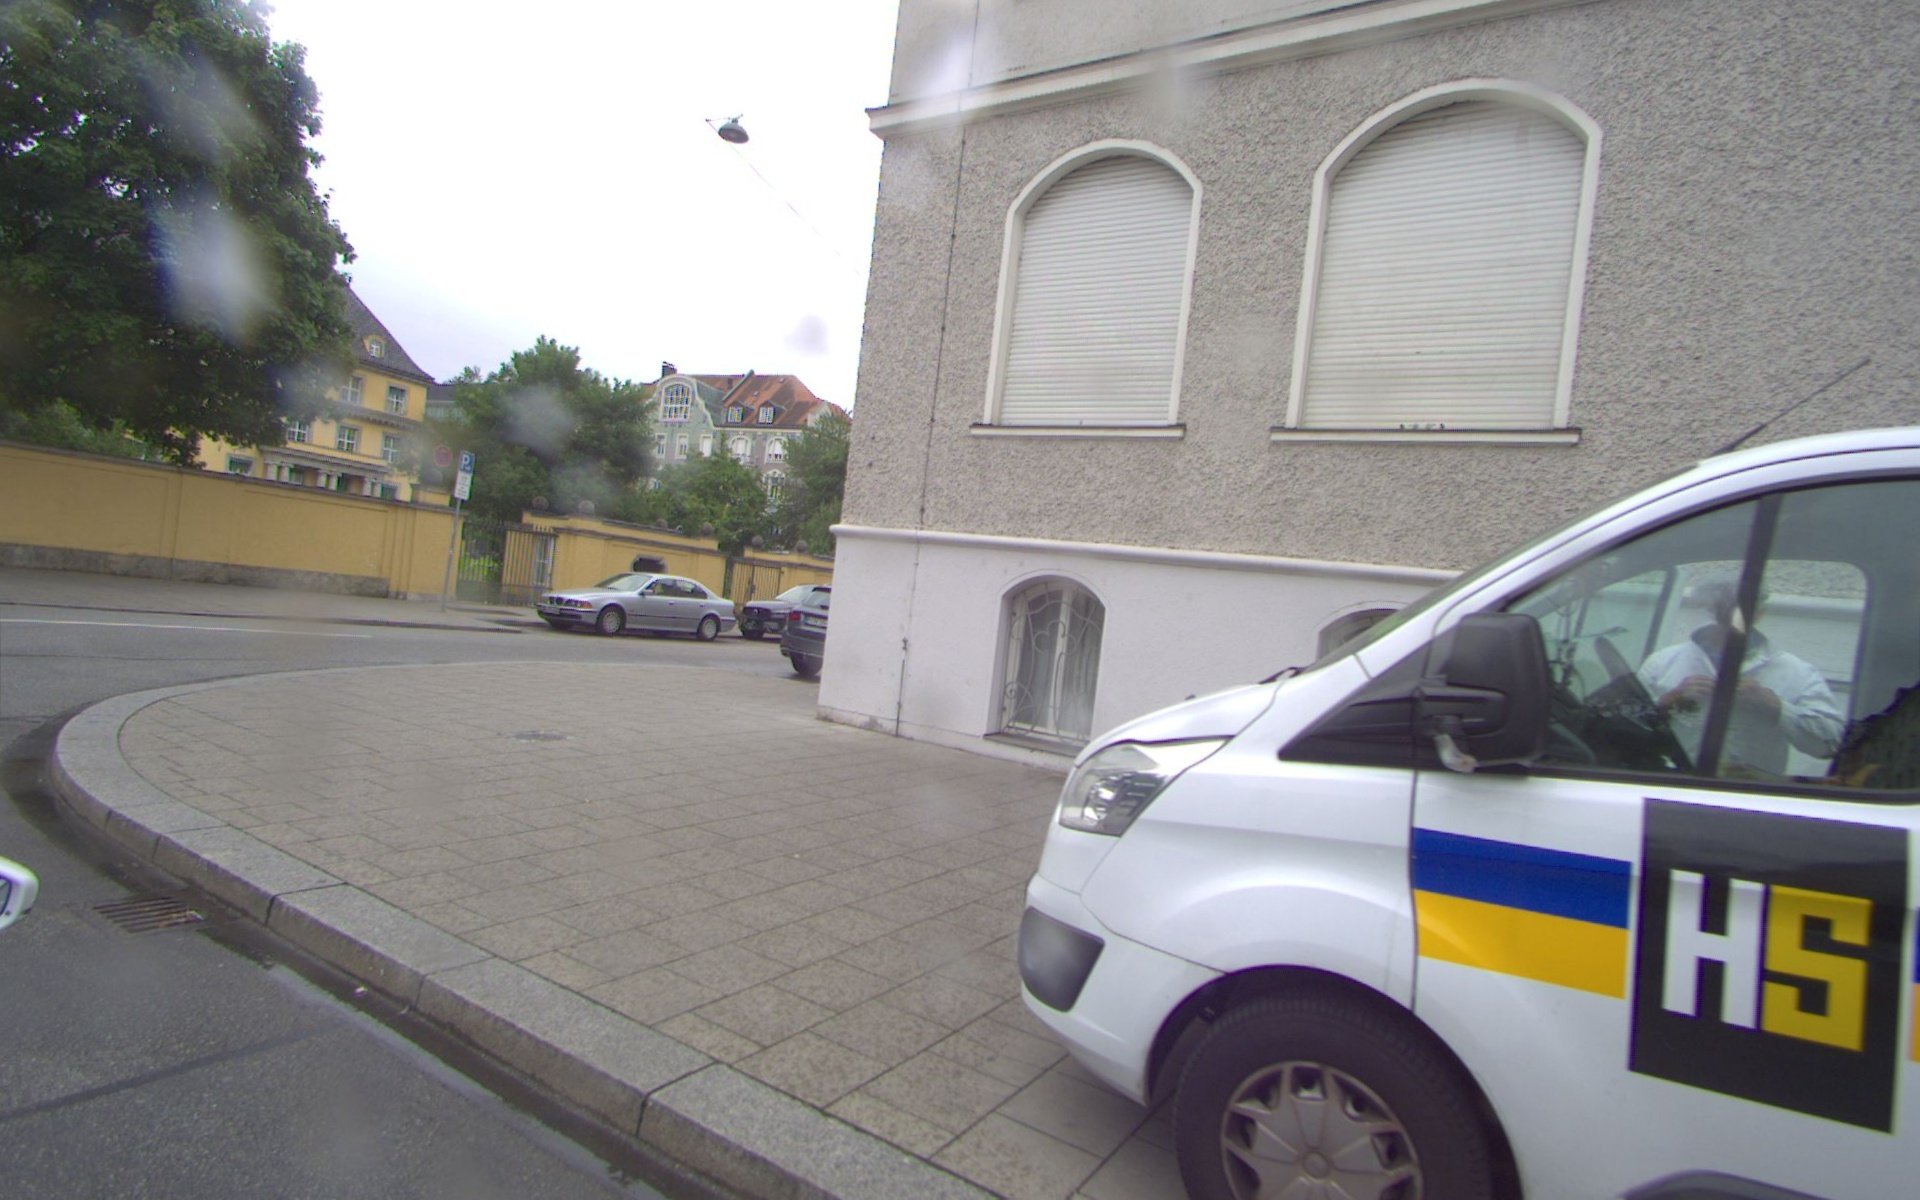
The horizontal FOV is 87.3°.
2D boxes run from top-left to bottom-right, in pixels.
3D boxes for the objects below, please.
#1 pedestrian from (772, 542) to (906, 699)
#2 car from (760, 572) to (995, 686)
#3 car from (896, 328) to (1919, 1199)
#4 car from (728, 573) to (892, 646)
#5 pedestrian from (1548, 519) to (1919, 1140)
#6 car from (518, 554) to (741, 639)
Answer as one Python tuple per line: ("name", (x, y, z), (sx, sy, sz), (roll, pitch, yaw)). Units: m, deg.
("pedestrian", (-1.610, 0.271, 13.336), (1.084, 1.897, 1.196), (5, 1, -45))
("car", (-1.349, 0.594, 18.315), (1.861, 1.636, 4.411), (8, 1, 32))
("car", (2.484, 0.663, 2.133), (4.844, 1.987, 1.917), (7, 2, 30))
("car", (-3.954, 0.315, 27.313), (1.795, 1.549, 4.563), (7, 0, 31))
("pedestrian", (2.662, 0.716, 3.499), (0.586, 1.912, 0.672), (6, 1, -29))
("car", (-7.170, -0.013, 22.343), (1.795, 1.419, 4.563), (7, 0, 31))
